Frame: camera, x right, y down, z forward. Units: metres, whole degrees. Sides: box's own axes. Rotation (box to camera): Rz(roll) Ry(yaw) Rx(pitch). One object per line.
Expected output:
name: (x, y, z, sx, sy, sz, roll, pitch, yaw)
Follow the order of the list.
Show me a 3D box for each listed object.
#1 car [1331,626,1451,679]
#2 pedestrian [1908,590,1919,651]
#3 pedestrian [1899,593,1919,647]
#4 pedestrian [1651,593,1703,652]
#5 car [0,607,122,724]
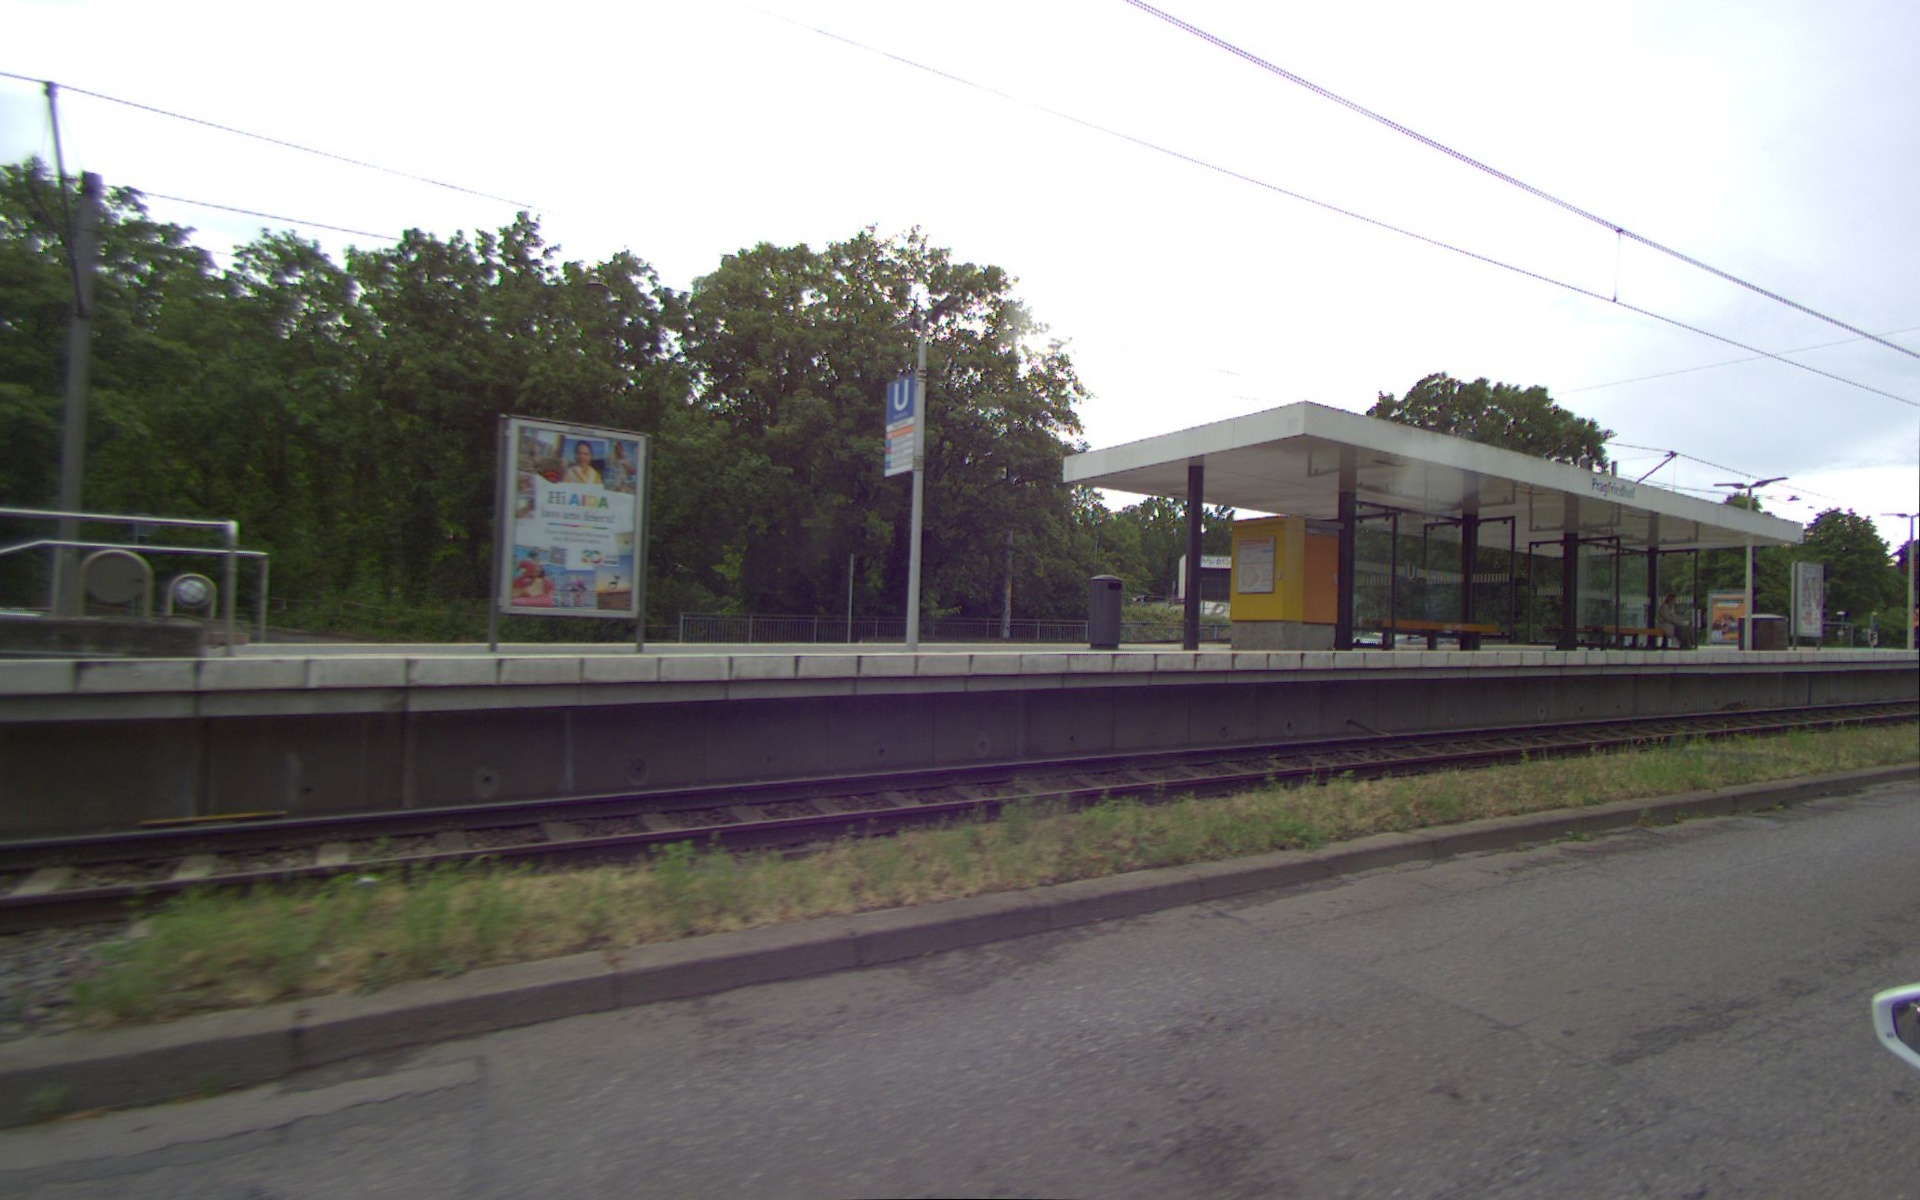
car: (16.569, 2.003, 38.564, 4.466, 1.901, 1.984, 2, -1, -31)
pedestrian: (30.849, 0.653, 32.064, 0.734, 1.935, 0.838, 2, 2, 40)
pedestrian: (30.060, 0.630, 31.497, 0.785, 1.669, 0.914, 2, 2, 39)
pedestrian: (15.297, 0.483, 21.438, 0.612, 1.242, 0.707, 2, -1, -29)
car: (-15.016, 0.896, 14.313, 4.471, 1.645, 1.981, 2, -1, -34)
